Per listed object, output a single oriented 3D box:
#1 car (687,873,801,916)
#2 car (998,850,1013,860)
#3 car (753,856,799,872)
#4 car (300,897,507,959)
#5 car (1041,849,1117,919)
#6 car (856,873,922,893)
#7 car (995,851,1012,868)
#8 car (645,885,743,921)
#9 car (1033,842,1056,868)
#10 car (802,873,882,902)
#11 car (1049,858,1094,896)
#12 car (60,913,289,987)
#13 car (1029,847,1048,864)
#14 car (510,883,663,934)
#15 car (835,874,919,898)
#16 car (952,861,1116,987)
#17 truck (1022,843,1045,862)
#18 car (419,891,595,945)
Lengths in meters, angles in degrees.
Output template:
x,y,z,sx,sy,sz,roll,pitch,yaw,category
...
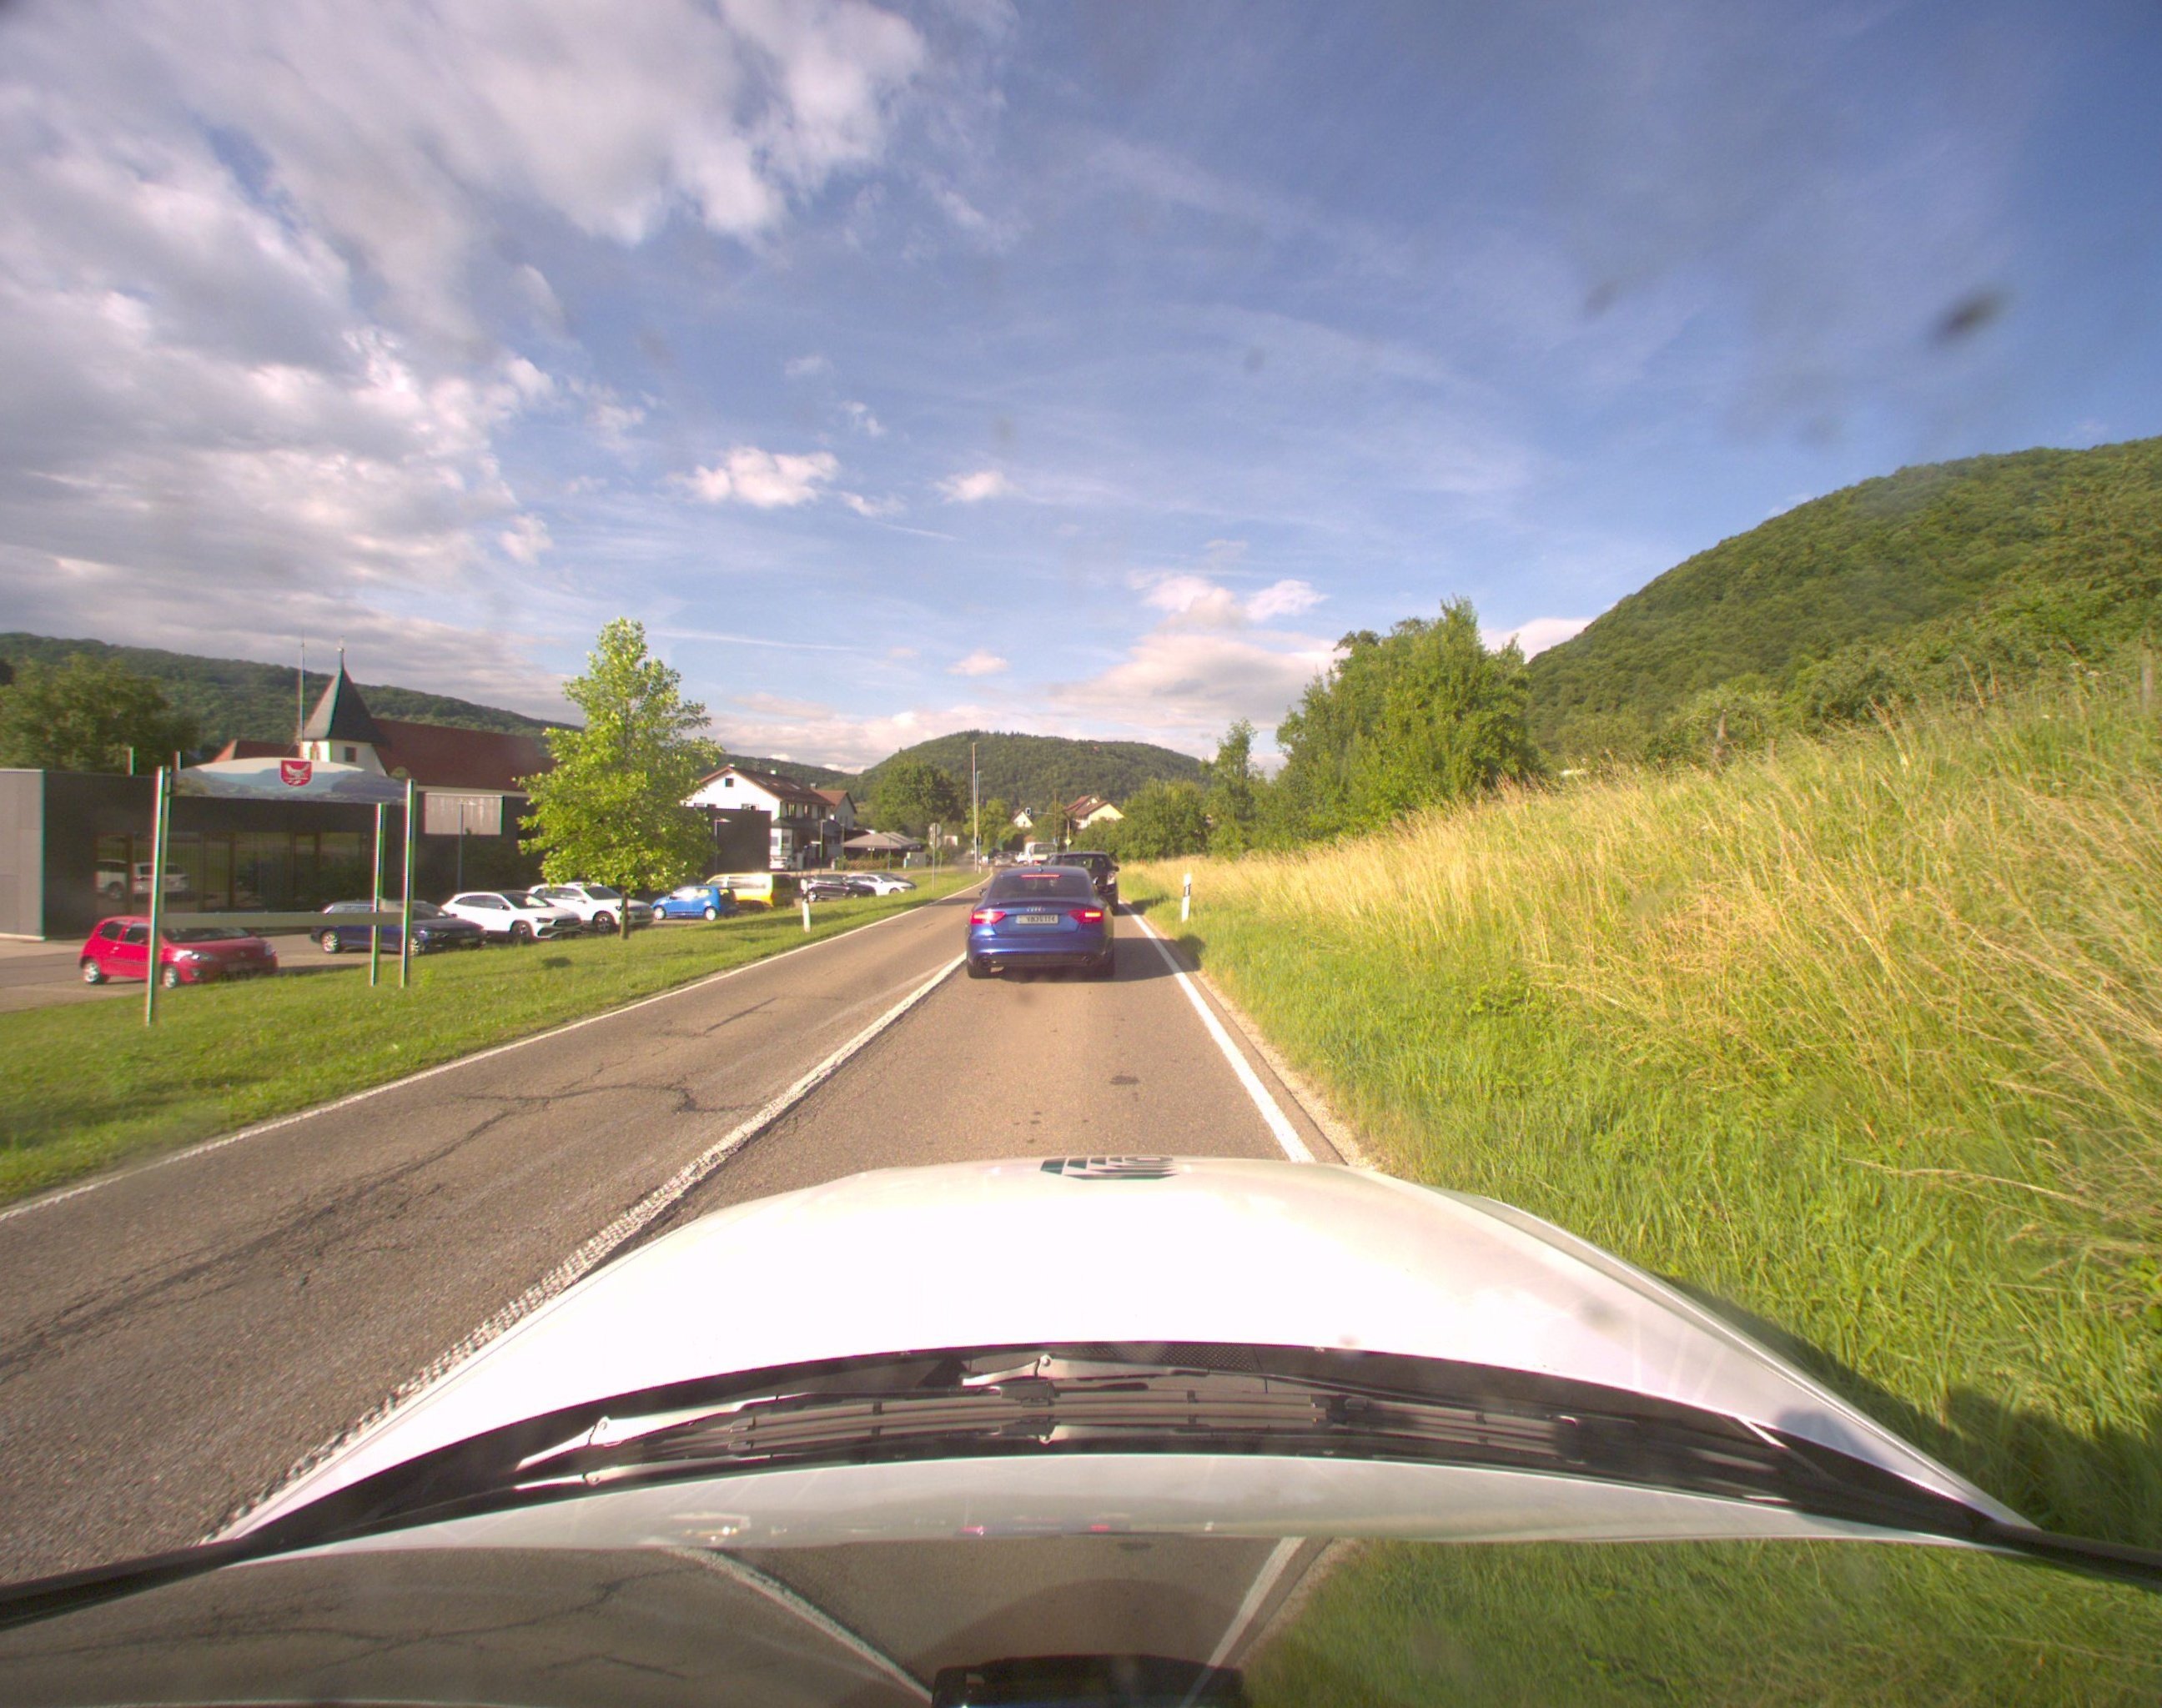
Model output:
x,y,z,sx,sy,sz,roll,pitch,yaw,category
-15.607,1.854,37.783,4.578,1.868,2.007,0,-1,13,car
-11.230,0.108,121.399,1.700,1.490,3.509,0,-1,-14,car
-29.077,0.940,77.754,1.749,1.442,4.022,-1,-1,23,car
-19.050,2.028,22.997,4.510,1.555,2.006,0,-1,10,car
0.040,0.728,21.297,1.739,1.639,4.003,0,-1,3,car
-12.869,1.947,54.744,3.967,1.310,1.764,0,-1,6,car
-8.111,0.564,84.741,1.732,1.662,3.463,0,-1,-6,car
-16.690,2.111,35.235,3.474,1.472,1.636,0,-1,8,car
-3.120,0.090,69.279,1.744,2.195,3.992,0,-1,-6,car
-13.990,1.963,47.719,4.000,1.637,2.006,0,-1,10,car
-0.365,1.004,37.000,1.798,1.639,4.465,0,-1,2,car
-19.831,2.055,17.883,3.698,1.398,1.620,0,-1,10,car
-4.256,0.129,80.779,1.744,1.639,3.992,0,-1,-6,car
-17.898,1.933,29.556,4.510,1.703,2.006,0,-1,10,car
-13.028,2.035,52.129,4.784,1.493,1.886,0,-1,10,car
-0.452,0.808,11.188,1.788,1.388,4.003,-1,-1,3,car
-5.103,-0.092,85.964,1.698,1.953,5.900,0,-1,-11,truck
-18.410,2.019,26.207,4.510,1.555,2.006,0,-1,10,car
